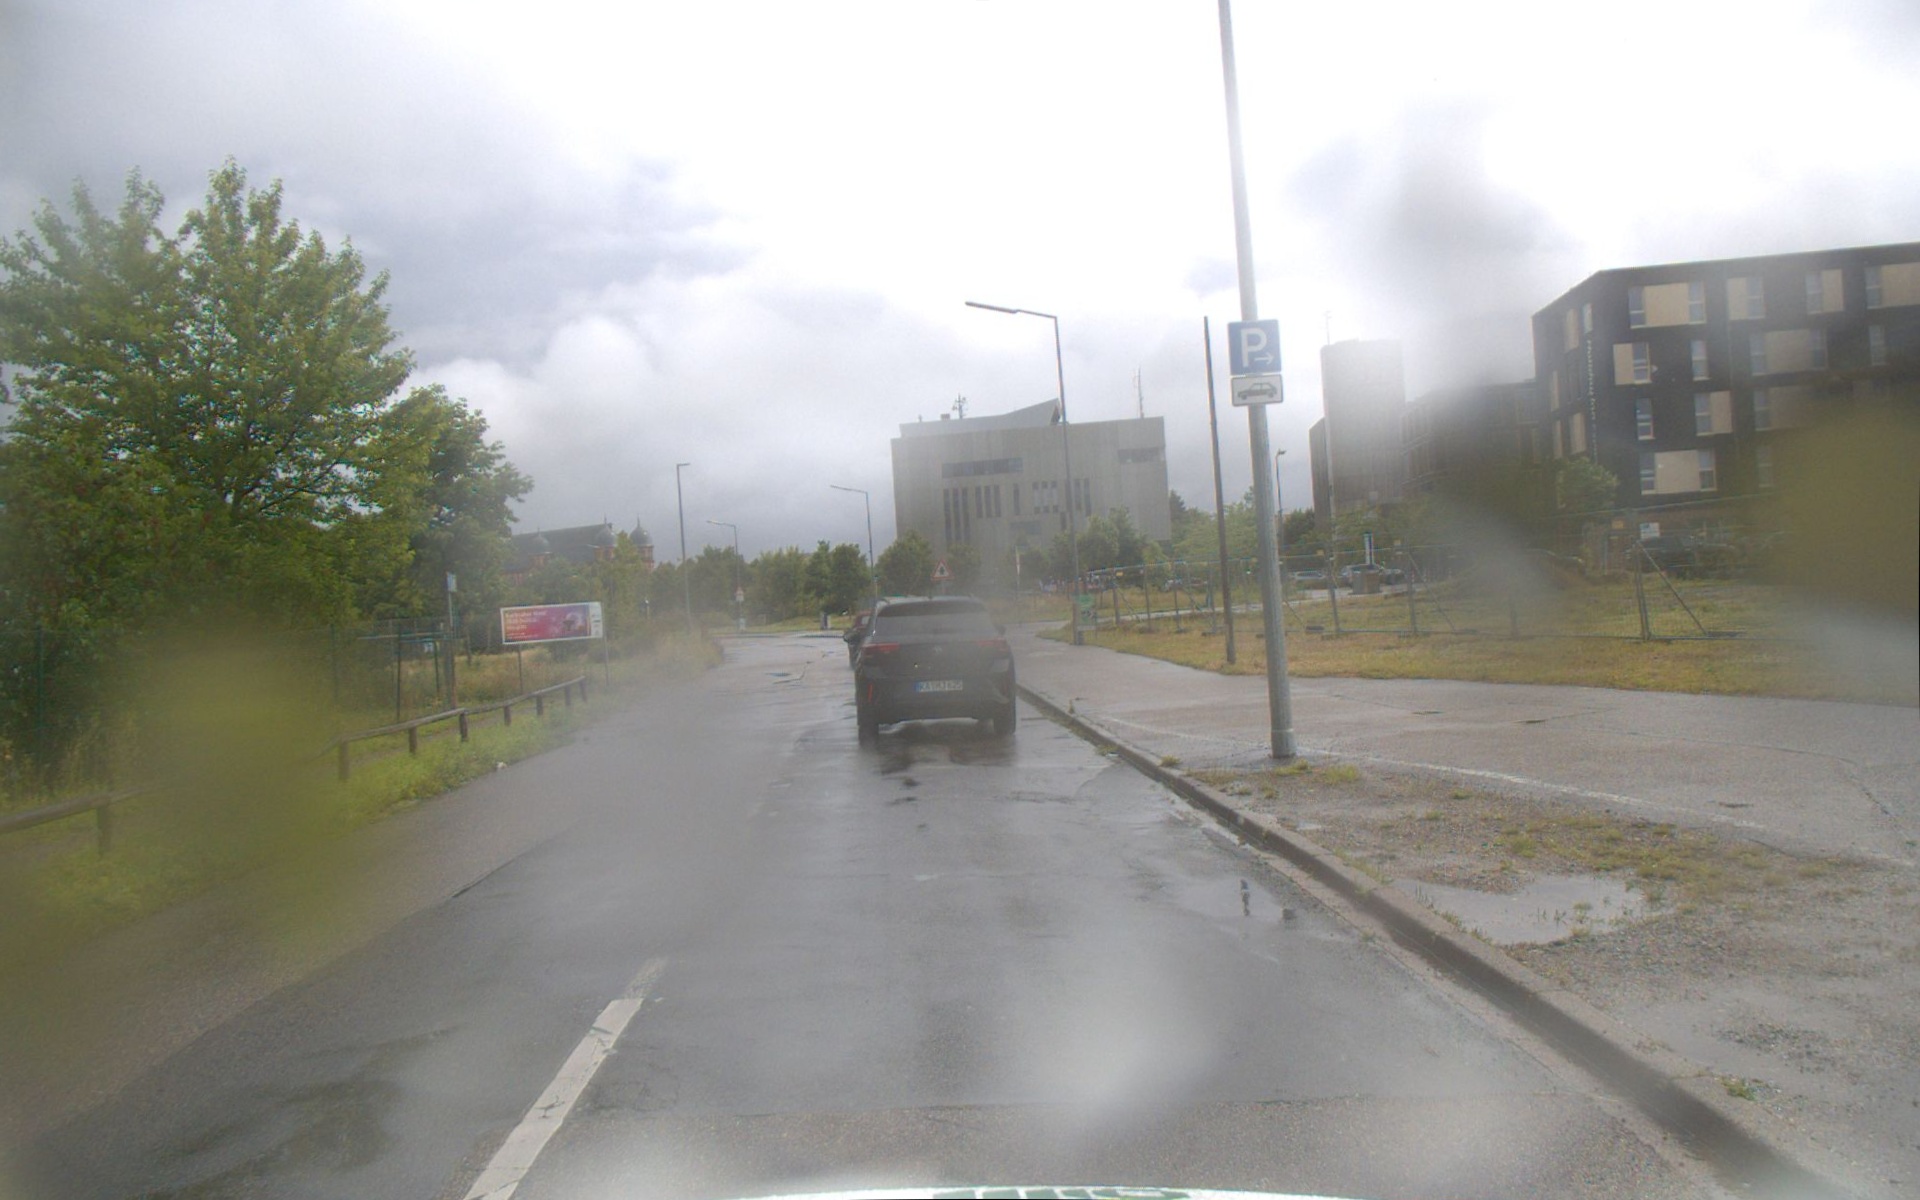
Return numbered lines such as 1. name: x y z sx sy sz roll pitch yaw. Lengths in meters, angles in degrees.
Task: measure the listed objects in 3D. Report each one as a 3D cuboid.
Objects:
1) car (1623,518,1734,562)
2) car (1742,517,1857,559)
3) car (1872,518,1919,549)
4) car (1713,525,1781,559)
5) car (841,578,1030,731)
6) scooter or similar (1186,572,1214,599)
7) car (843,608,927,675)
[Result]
1. car: 30.891 -2.550 71.210 3.904 1.758 2.000 -1 0 1
2. car: 35.997 -2.658 71.002 3.904 1.670 2.000 -1 0 1
3. car: 46.185 -3.227 80.488 1.725 1.419 3.810 -1 1 4
4. car: 38.622 -2.829 81.226 1.742 1.554 3.845 -1 1 4
5. car: -0.363 0.550 19.241 1.947 1.547 3.997 -1 1 -3
6. scooter or similar: 11.980 -0.726 82.573 1.264 1.207 0.499 -6 2 -25
7. car: -2.035 1.064 43.715 1.807 1.466 3.994 -7 1 -7
